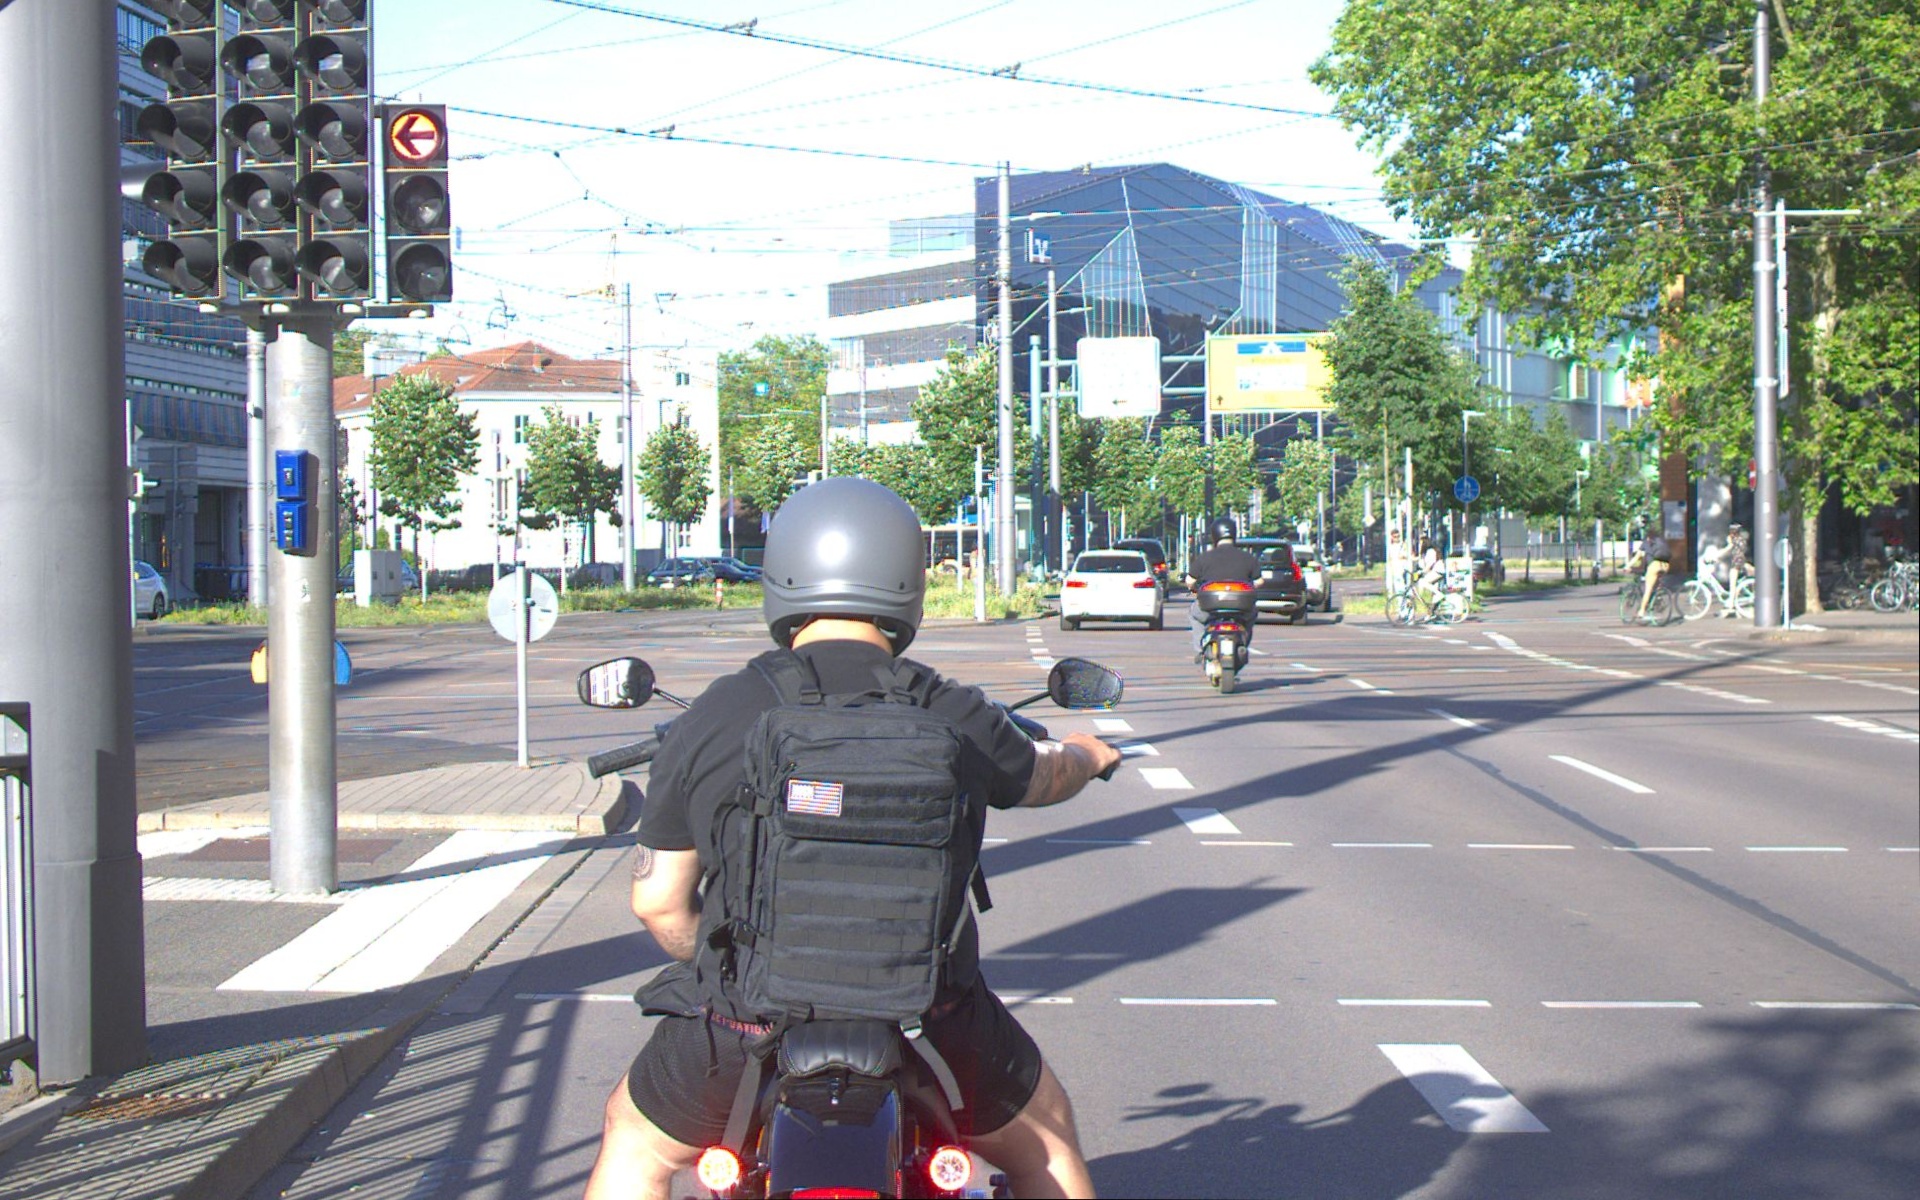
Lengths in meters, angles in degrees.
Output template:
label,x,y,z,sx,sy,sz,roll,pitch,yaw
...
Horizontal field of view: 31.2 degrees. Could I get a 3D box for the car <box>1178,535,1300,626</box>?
label,x,y,z,sx,sy,sz,roll,pitch,yaw
car,5.637,-0.434,69.903,1.731,1.726,4.613,1,2,-5

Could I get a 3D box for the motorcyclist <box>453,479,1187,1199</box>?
label,x,y,z,sx,sy,sz,roll,pitch,yaw
motorcyclist,-0.200,0.618,5.293,1.030,1.588,0.873,0,1,-1

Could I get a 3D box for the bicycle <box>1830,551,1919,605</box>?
label,x,y,z,sx,sy,sz,roll,pitch,yaw
bicycle,18.457,-0.442,68.996,1.880,1.043,0.360,1,1,-1

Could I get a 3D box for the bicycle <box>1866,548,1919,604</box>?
label,x,y,z,sx,sy,sz,roll,pitch,yaw
bicycle,18.314,-0.452,65.721,1.880,1.043,0.360,1,0,-1

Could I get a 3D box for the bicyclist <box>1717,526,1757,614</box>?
label,x,y,z,sx,sy,sz,roll,pitch,yaw
bicyclist,14.736,-0.560,65.180,0.688,1.667,0.540,0,0,19

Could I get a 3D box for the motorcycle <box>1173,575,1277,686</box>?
label,x,y,z,sx,sy,sz,roll,pitch,yaw
motorcycle,2.588,0.287,33.815,0.804,1.047,2.376,1,0,0

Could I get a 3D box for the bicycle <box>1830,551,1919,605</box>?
label,x,y,z,sx,sy,sz,roll,pitch,yaw
bicycle,18.322,-0.429,68.508,1.880,1.043,0.360,1,0,-1

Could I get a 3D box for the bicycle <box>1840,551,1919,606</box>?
label,x,y,z,sx,sy,sz,roll,pitch,yaw
bicycle,18.375,-0.425,67.877,1.880,1.043,0.360,1,1,-1

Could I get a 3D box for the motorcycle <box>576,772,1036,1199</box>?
label,x,y,z,sx,sy,sz,roll,pitch,yaw
motorcycle,-0.221,0.882,5.648,0.600,1.032,2.234,1,1,-1

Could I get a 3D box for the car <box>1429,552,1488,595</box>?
label,x,y,z,sx,sy,sz,roll,pitch,yaw
car,20.088,-1.068,138.427,1.804,1.672,4.038,1,0,16

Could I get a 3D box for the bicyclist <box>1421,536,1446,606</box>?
label,x,y,z,sx,sy,sz,roll,pitch,yaw
bicyclist,9.247,-0.563,67.085,0.380,1.368,0.345,1,0,-9

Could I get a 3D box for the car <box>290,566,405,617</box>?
label,x,y,z,sx,sy,sz,roll,pitch,yaw
car,-17.606,-0.248,98.990,1.826,1.426,4.239,1,0,11

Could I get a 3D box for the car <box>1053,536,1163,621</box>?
label,x,y,z,sx,sy,sz,roll,pitch,yaw
car,2.640,-0.386,62.179,1.731,1.452,4.418,1,0,-1

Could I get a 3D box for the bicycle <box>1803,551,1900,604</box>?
label,x,y,z,sx,sy,sz,roll,pitch,yaw
bicycle,18.309,-0.468,70.645,1.880,1.043,0.360,1,1,-1

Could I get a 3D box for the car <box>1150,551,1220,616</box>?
label,x,y,z,sx,sy,sz,roll,pitch,yaw
car,6.056,-0.440,92.832,1.803,1.672,4.040,1,0,3

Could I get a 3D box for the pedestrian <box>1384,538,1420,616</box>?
label,x,y,z,sx,sy,sz,roll,pitch,yaw
pedestrian,8.827,-0.455,68.693,0.587,1.551,0.489,1,0,-8

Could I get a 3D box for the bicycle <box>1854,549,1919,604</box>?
label,x,y,z,sx,sy,sz,roll,pitch,yaw
bicycle,18.294,-0.444,66.503,1.880,1.043,0.360,1,0,-1

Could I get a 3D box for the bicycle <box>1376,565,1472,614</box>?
label,x,y,z,sx,sy,sz,roll,pitch,yaw
bicycle,9.047,-0.207,67.063,1.825,0.922,0.358,1,0,-8

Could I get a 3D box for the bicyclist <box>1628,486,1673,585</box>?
label,x,y,z,sx,sy,sz,roll,pitch,yaw
bicyclist,12.713,-1.175,63.325,0.697,1.802,0.728,1,0,4

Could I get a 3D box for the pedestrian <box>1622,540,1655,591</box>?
label,x,y,z,sx,sy,sz,roll,pitch,yaw
pedestrian,17.894,-0.907,90.678,0.819,1.309,0.637,1,0,9

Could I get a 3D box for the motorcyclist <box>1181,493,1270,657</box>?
label,x,y,z,sx,sy,sz,roll,pitch,yaw
motorcyclist,2.594,-0.246,33.607,0.796,1.574,0.529,1,0,-1

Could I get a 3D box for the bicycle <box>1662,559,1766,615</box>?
label,x,y,z,sx,sy,sz,roll,pitch,yaw
bicycle,14.327,-0.245,65.318,1.872,1.040,0.536,0,0,19

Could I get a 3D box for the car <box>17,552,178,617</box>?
label,x,y,z,sx,sy,sz,roll,pitch,yaw
car,-20.047,-0.389,80.076,1.826,1.425,4.528,0,1,12

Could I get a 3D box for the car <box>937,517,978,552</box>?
label,x,y,z,sx,sy,sz,roll,pitch,yaw
car,-0.137,-3.916,205.259,1.994,2.007,4.299,1,0,5

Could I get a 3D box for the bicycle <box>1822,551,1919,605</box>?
label,x,y,z,sx,sy,sz,roll,pitch,yaw
bicycle,18.422,-0.451,69.495,1.880,1.043,0.360,1,1,-1

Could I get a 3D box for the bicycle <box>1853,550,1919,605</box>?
label,x,y,z,sx,sy,sz,roll,pitch,yaw
bicycle,18.481,-0.432,67.321,1.880,1.043,0.360,1,0,-1

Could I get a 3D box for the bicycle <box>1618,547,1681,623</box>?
label,x,y,z,sx,sy,sz,roll,pitch,yaw
bicycle,12.684,-0.278,63.294,0.726,1.362,2.917,1,0,3

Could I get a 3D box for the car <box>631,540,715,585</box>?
label,x,y,z,sx,sy,sz,roll,pitch,yaw
car,-10.043,-1.289,120.607,1.750,1.519,3.997,1,0,13
